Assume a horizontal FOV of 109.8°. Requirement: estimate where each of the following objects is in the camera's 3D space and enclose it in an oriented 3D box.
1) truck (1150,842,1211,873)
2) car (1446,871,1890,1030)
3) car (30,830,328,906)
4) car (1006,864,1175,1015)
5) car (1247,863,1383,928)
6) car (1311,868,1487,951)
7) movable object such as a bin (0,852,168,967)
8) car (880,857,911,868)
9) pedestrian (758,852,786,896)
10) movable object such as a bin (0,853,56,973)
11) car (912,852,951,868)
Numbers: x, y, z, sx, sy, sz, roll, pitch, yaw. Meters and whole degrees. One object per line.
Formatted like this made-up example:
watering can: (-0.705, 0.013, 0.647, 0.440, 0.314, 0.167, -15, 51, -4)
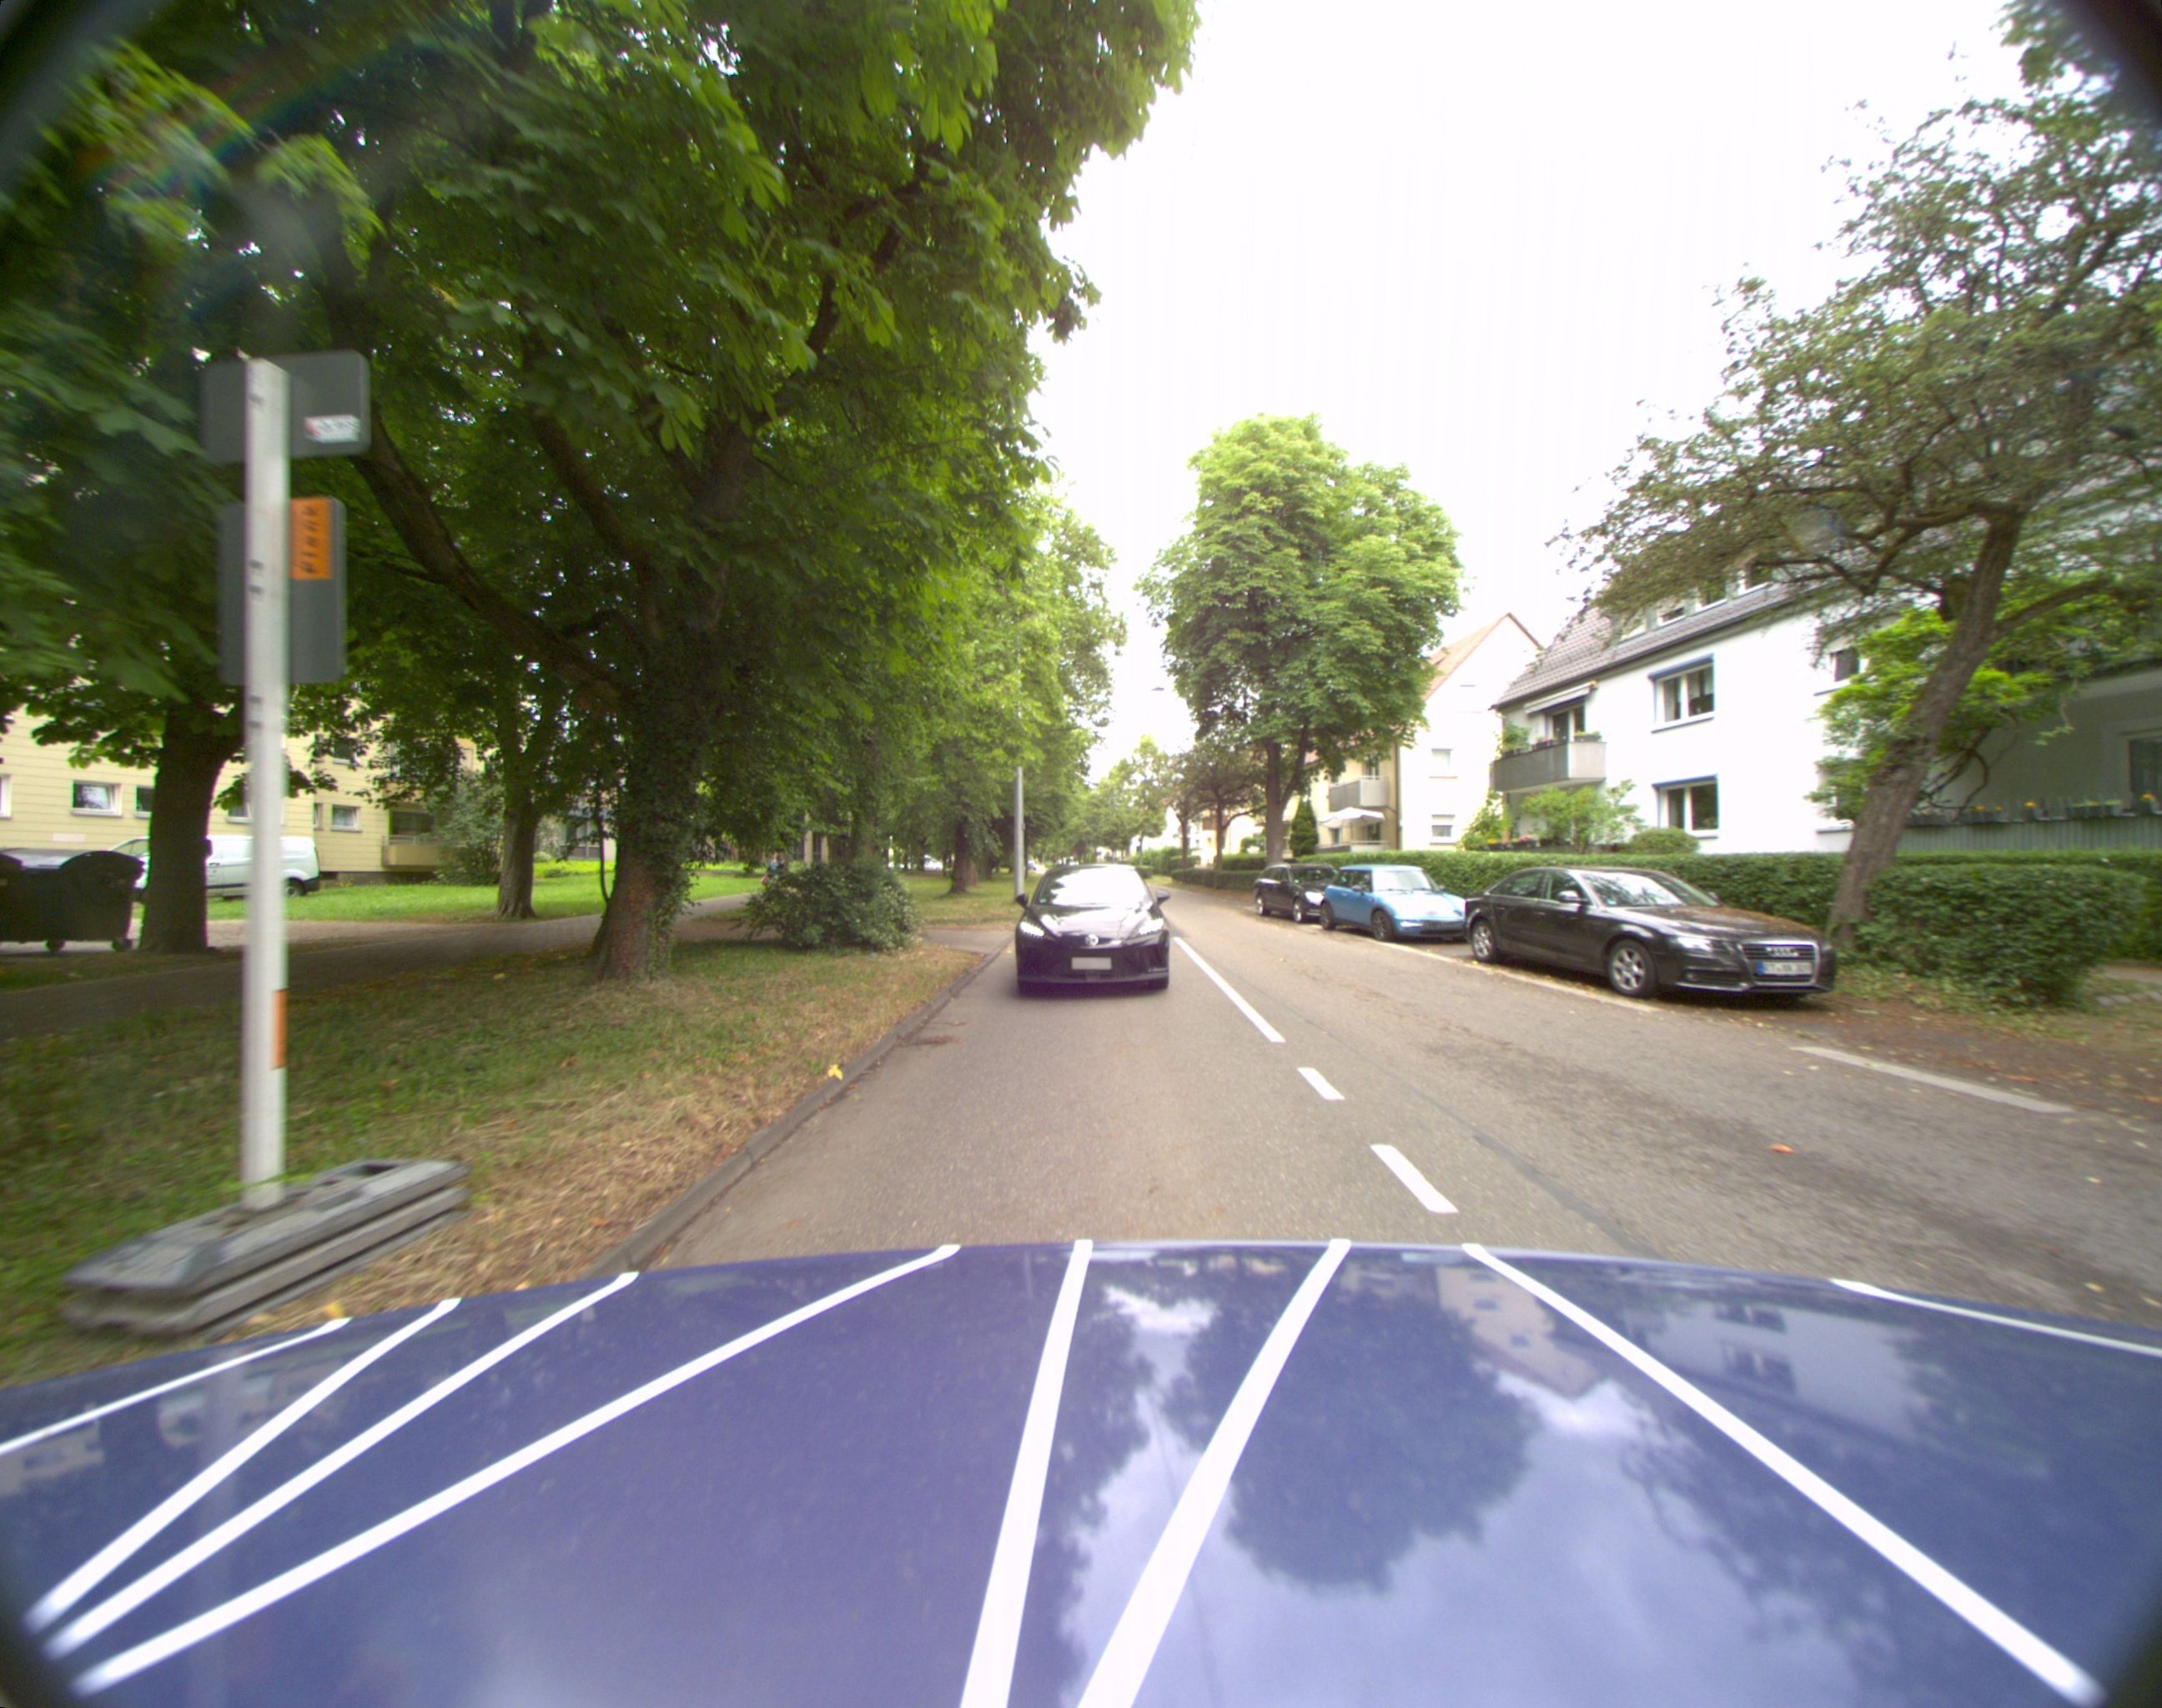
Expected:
truck: (10.205, 0.390, 78.194, 5.814, 3.112, 2.517, 0, 0, -6)
car: (6.613, 0.957, 9.420, 1.799, 1.402, 4.644, 1, 0, -2)
car: (-24.550, 0.401, 21.074, 2.090, 1.831, 4.971, 1, -1, 5)
car: (0.124, 0.951, 10.438, 1.799, 1.552, 4.471, -1, 0, 0)
car: (5.867, 0.981, 19.643, 1.799, 1.463, 4.416, 1, 0, -5)
car: (6.101, 1.000, 15.051, 1.669, 1.383, 3.705, 1, 0, -5)
movable object such as a bin: (-14.165, 0.731, 10.563, 1.330, 1.492, 1.314, 1, 0, -5)
car: (-27.010, 1.236, 110.853, 4.009, 1.501, 1.795, 1, -1, -45)
pedestrian: (-11.993, 0.773, 29.469, 0.770, 1.676, 0.814, 1, 0, -4)
movable object such as a bin: (-14.029, 0.722, 9.226, 1.330, 1.492, 1.314, 1, 0, -5)
car: (-22.628, 0.914, 115.092, 5.337, 2.285, 2.286, 1, -1, -38)
